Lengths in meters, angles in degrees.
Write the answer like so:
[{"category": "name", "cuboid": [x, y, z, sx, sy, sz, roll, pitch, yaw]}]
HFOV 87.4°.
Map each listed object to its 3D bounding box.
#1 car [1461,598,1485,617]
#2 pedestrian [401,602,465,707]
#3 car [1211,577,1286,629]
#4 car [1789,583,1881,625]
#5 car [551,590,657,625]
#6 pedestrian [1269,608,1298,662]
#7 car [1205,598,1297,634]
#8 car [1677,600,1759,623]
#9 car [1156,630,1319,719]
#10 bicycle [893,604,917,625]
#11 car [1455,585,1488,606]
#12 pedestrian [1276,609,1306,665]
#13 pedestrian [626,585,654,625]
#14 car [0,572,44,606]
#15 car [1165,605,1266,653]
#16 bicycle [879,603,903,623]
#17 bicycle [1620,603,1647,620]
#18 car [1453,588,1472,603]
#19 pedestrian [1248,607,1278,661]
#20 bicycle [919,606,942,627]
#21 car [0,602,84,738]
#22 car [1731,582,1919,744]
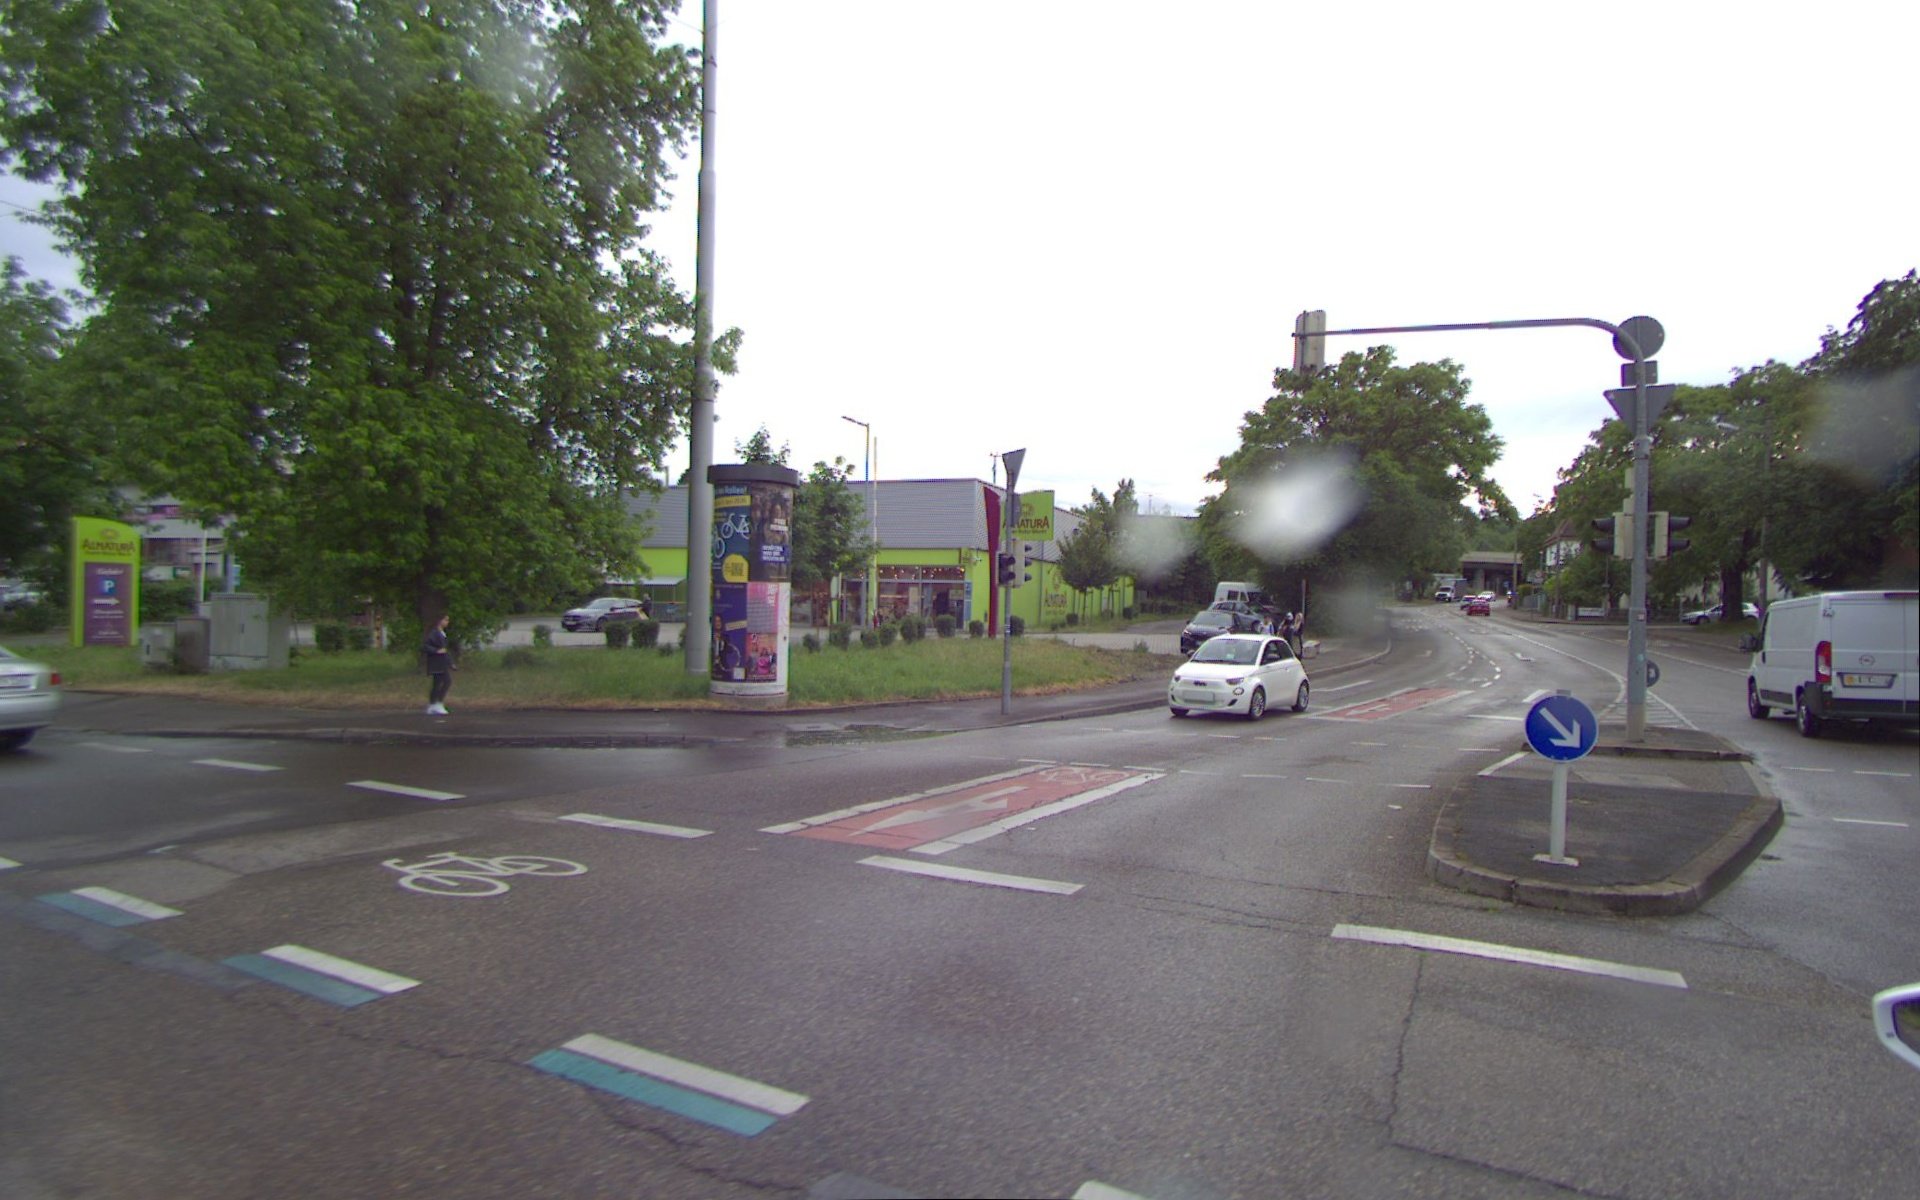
[{"category": "car", "cuboid": [47.337, 0.703, 92.742, 1.808, 1.554, 4.198, 2, 2, 26]}, {"category": "pedestrian", "cuboid": [-8.146, 0.835, 15.534, 0.655, 1.552, 0.593, 2, 3, 2]}, {"category": "car", "cuboid": [15.963, 0.088, 55.933, 2.073, 2.567, 5.599, 1, 2, -5]}, {"category": "car", "cuboid": [42.077, 0.144, 48.472, 1.962, 1.829, 5.141, 3, 2, 26]}, {"category": "car", "cuboid": [-15.237, 0.291, 43.208, 1.741, 1.363, 4.375, 1, 1, 24]}, {"category": "pedestrian", "cuboid": [10.135, 1.091, 31.479, 0.597, 1.624, 0.675, 4, 3, 37]}, {"category": "car", "cuboid": [14.791, 0.763, 51.292, 1.984, 1.564, 4.077, 0, 3, -40]}, {"category": "car", "cuboid": [49.259, 0.756, 65.326, 3.922, 1.441, 1.704, 0, -1, 21]}, {"category": "car", "cuboid": [5.467, 1.354, 19.488, 1.666, 1.502, 3.984, 0, -1, 38]}, {"category": "bicycle", "cuboid": [-2.792, 0.725, 51.120, 0.524, 0.995, 1.614, 1, 1, 23]}, {"category": "car", "cuboid": [74.973, -0.696, 147.126, 2.506, 3.059, 7.170, 3, 3, 42]}, {"category": "pedestrian", "cuboid": [10.150, 1.120, 30.784, 0.647, 1.624, 0.675, 4, 3, 37]}, {"category": "pedestrian", "cuboid": [-13.675, 0.205, 42.927, 0.746, 1.618, 0.802, 3, 3, 32]}, {"category": "car", "cuboid": [-48.168, -0.554, 49.862, 3.548, 1.610, 1.694, 1, 3, -22]}, {"category": "car", "cuboid": [8.908, 0.945, 34.789, 1.726, 1.468, 4.215, 4, 2, 40]}, {"category": "bicycle", "cuboid": [-3.529, 0.669, 51.494, 0.524, 0.995, 1.614, 1, 1, 23]}, {"category": "bicycle", "cuboid": [47.207, 0.791, 70.411, 1.547, 1.130, 0.457, 0, 1, 28]}, {"category": "car", "cuboid": [55.755, -0.477, 111.476, 1.738, 1.531, 3.751, 2, 2, 25]}, {"category": "pedestrian", "cuboid": [9.553, 1.067, 31.646, 0.647, 1.624, 0.675, 4, 3, 37]}, {"category": "bicycle", "cuboid": [-1.463, 0.821, 50.681, 0.524, 0.995, 1.614, 1, 1, 23]}, {"category": "car", "cuboid": [-12.461, 0.731, 11.068, 4.337, 1.455, 1.593, 1, -4, 5]}, {"category": "car", "cuboid": [14.692, 0.936, 16.644, 2.113, 2.314, 5.057, 0, -1, 27]}]
